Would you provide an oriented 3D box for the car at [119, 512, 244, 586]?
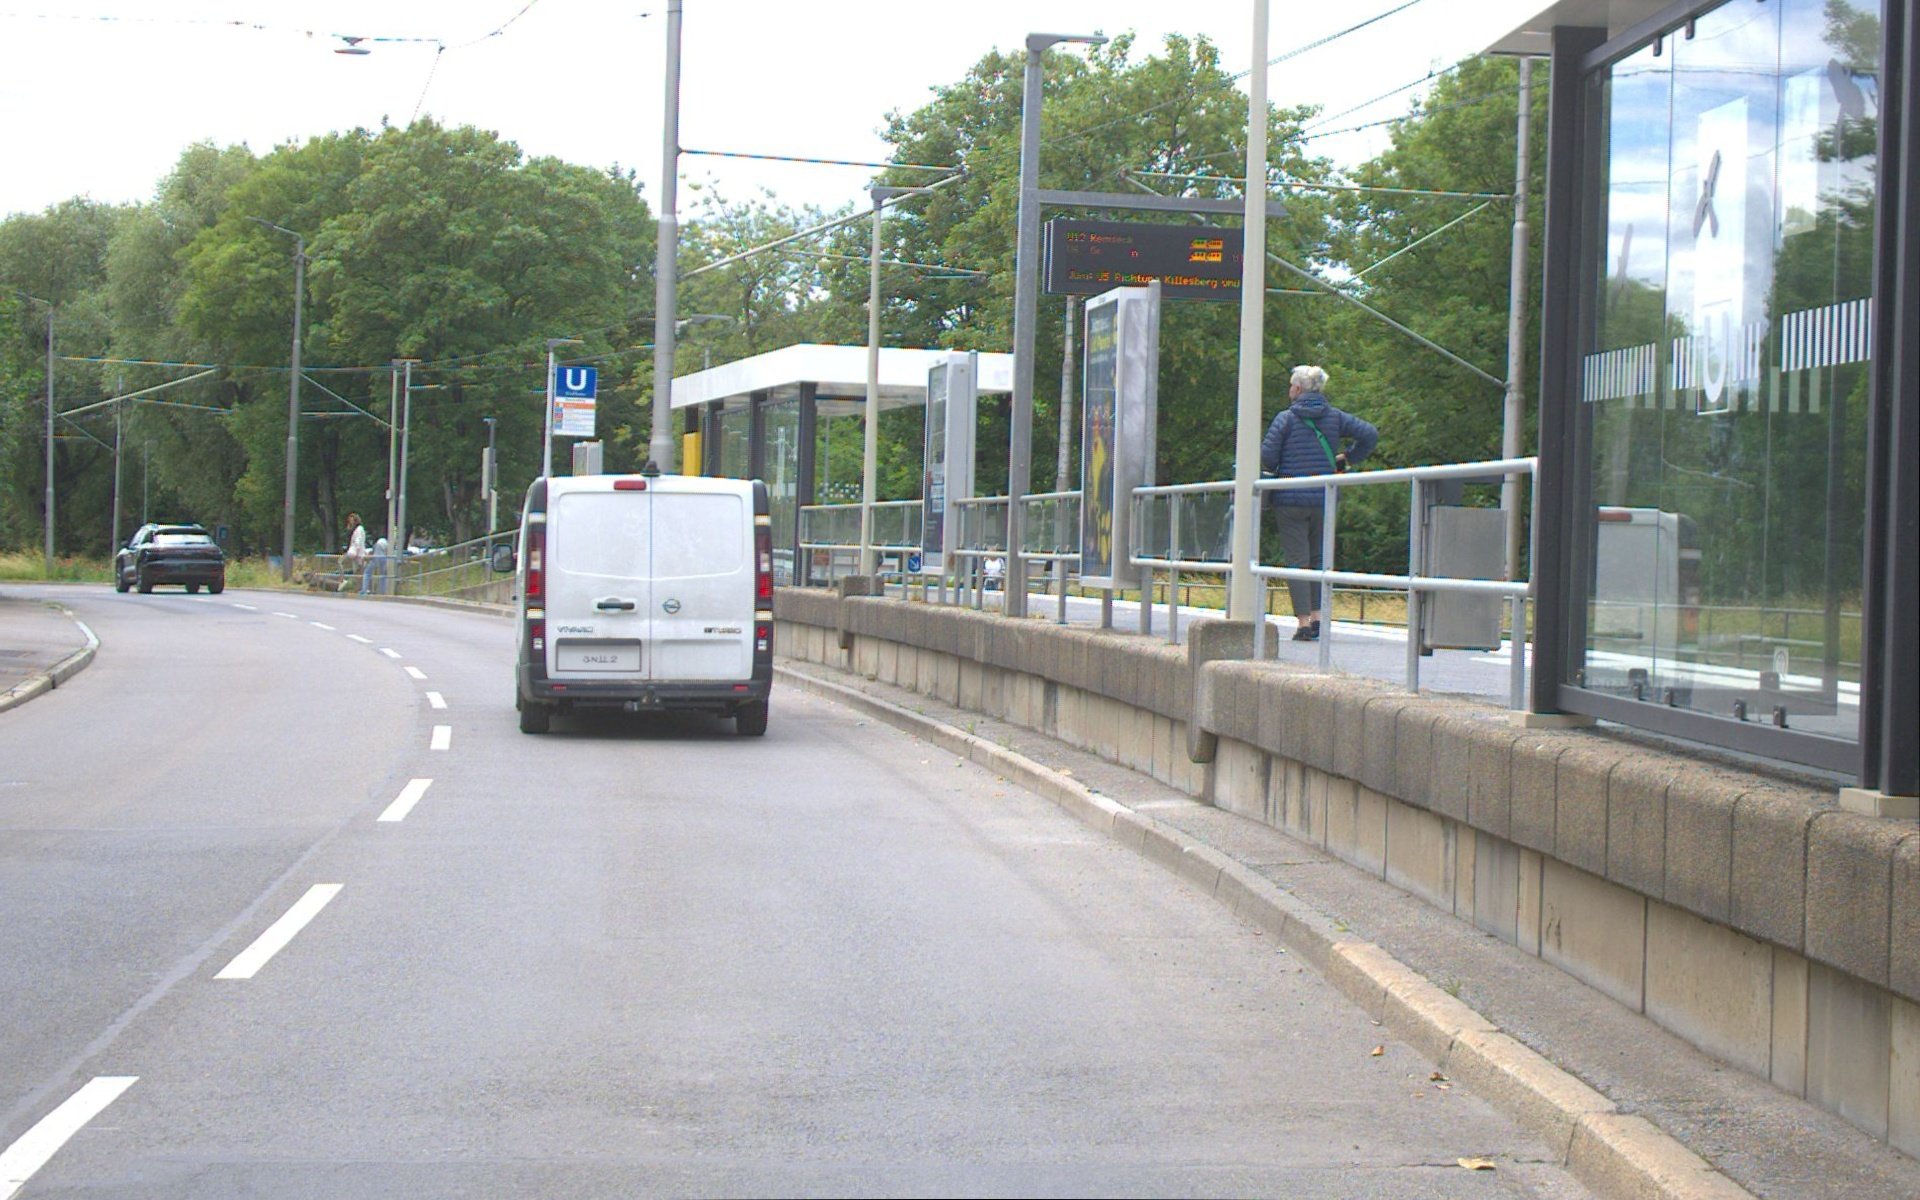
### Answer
[{"bbox_3d":[-18.286,-1.199,80.587,2.354,1.559,4.374,3,0,-18],"label":"car"}]

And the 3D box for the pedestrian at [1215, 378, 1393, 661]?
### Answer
[{"bbox_3d":[2.096,-0.489,21.029,0.886,1.665,0.910,2,1,-4],"label":"pedestrian"}]

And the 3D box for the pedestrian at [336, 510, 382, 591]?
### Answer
[{"bbox_3d":[-13.279,-1.093,75.980,0.758,1.789,0.631,1,1,-38],"label":"pedestrian"}]

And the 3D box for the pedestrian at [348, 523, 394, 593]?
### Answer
[{"bbox_3d":[-12.775,-0.916,74.590,0.758,1.487,0.631,1,1,-38],"label":"pedestrian"}]

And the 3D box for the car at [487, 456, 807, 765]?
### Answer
[{"bbox_3d":[-2.614,0.022,27.394,2.116,2.127,5.442,3,1,-9],"label":"car"}]
